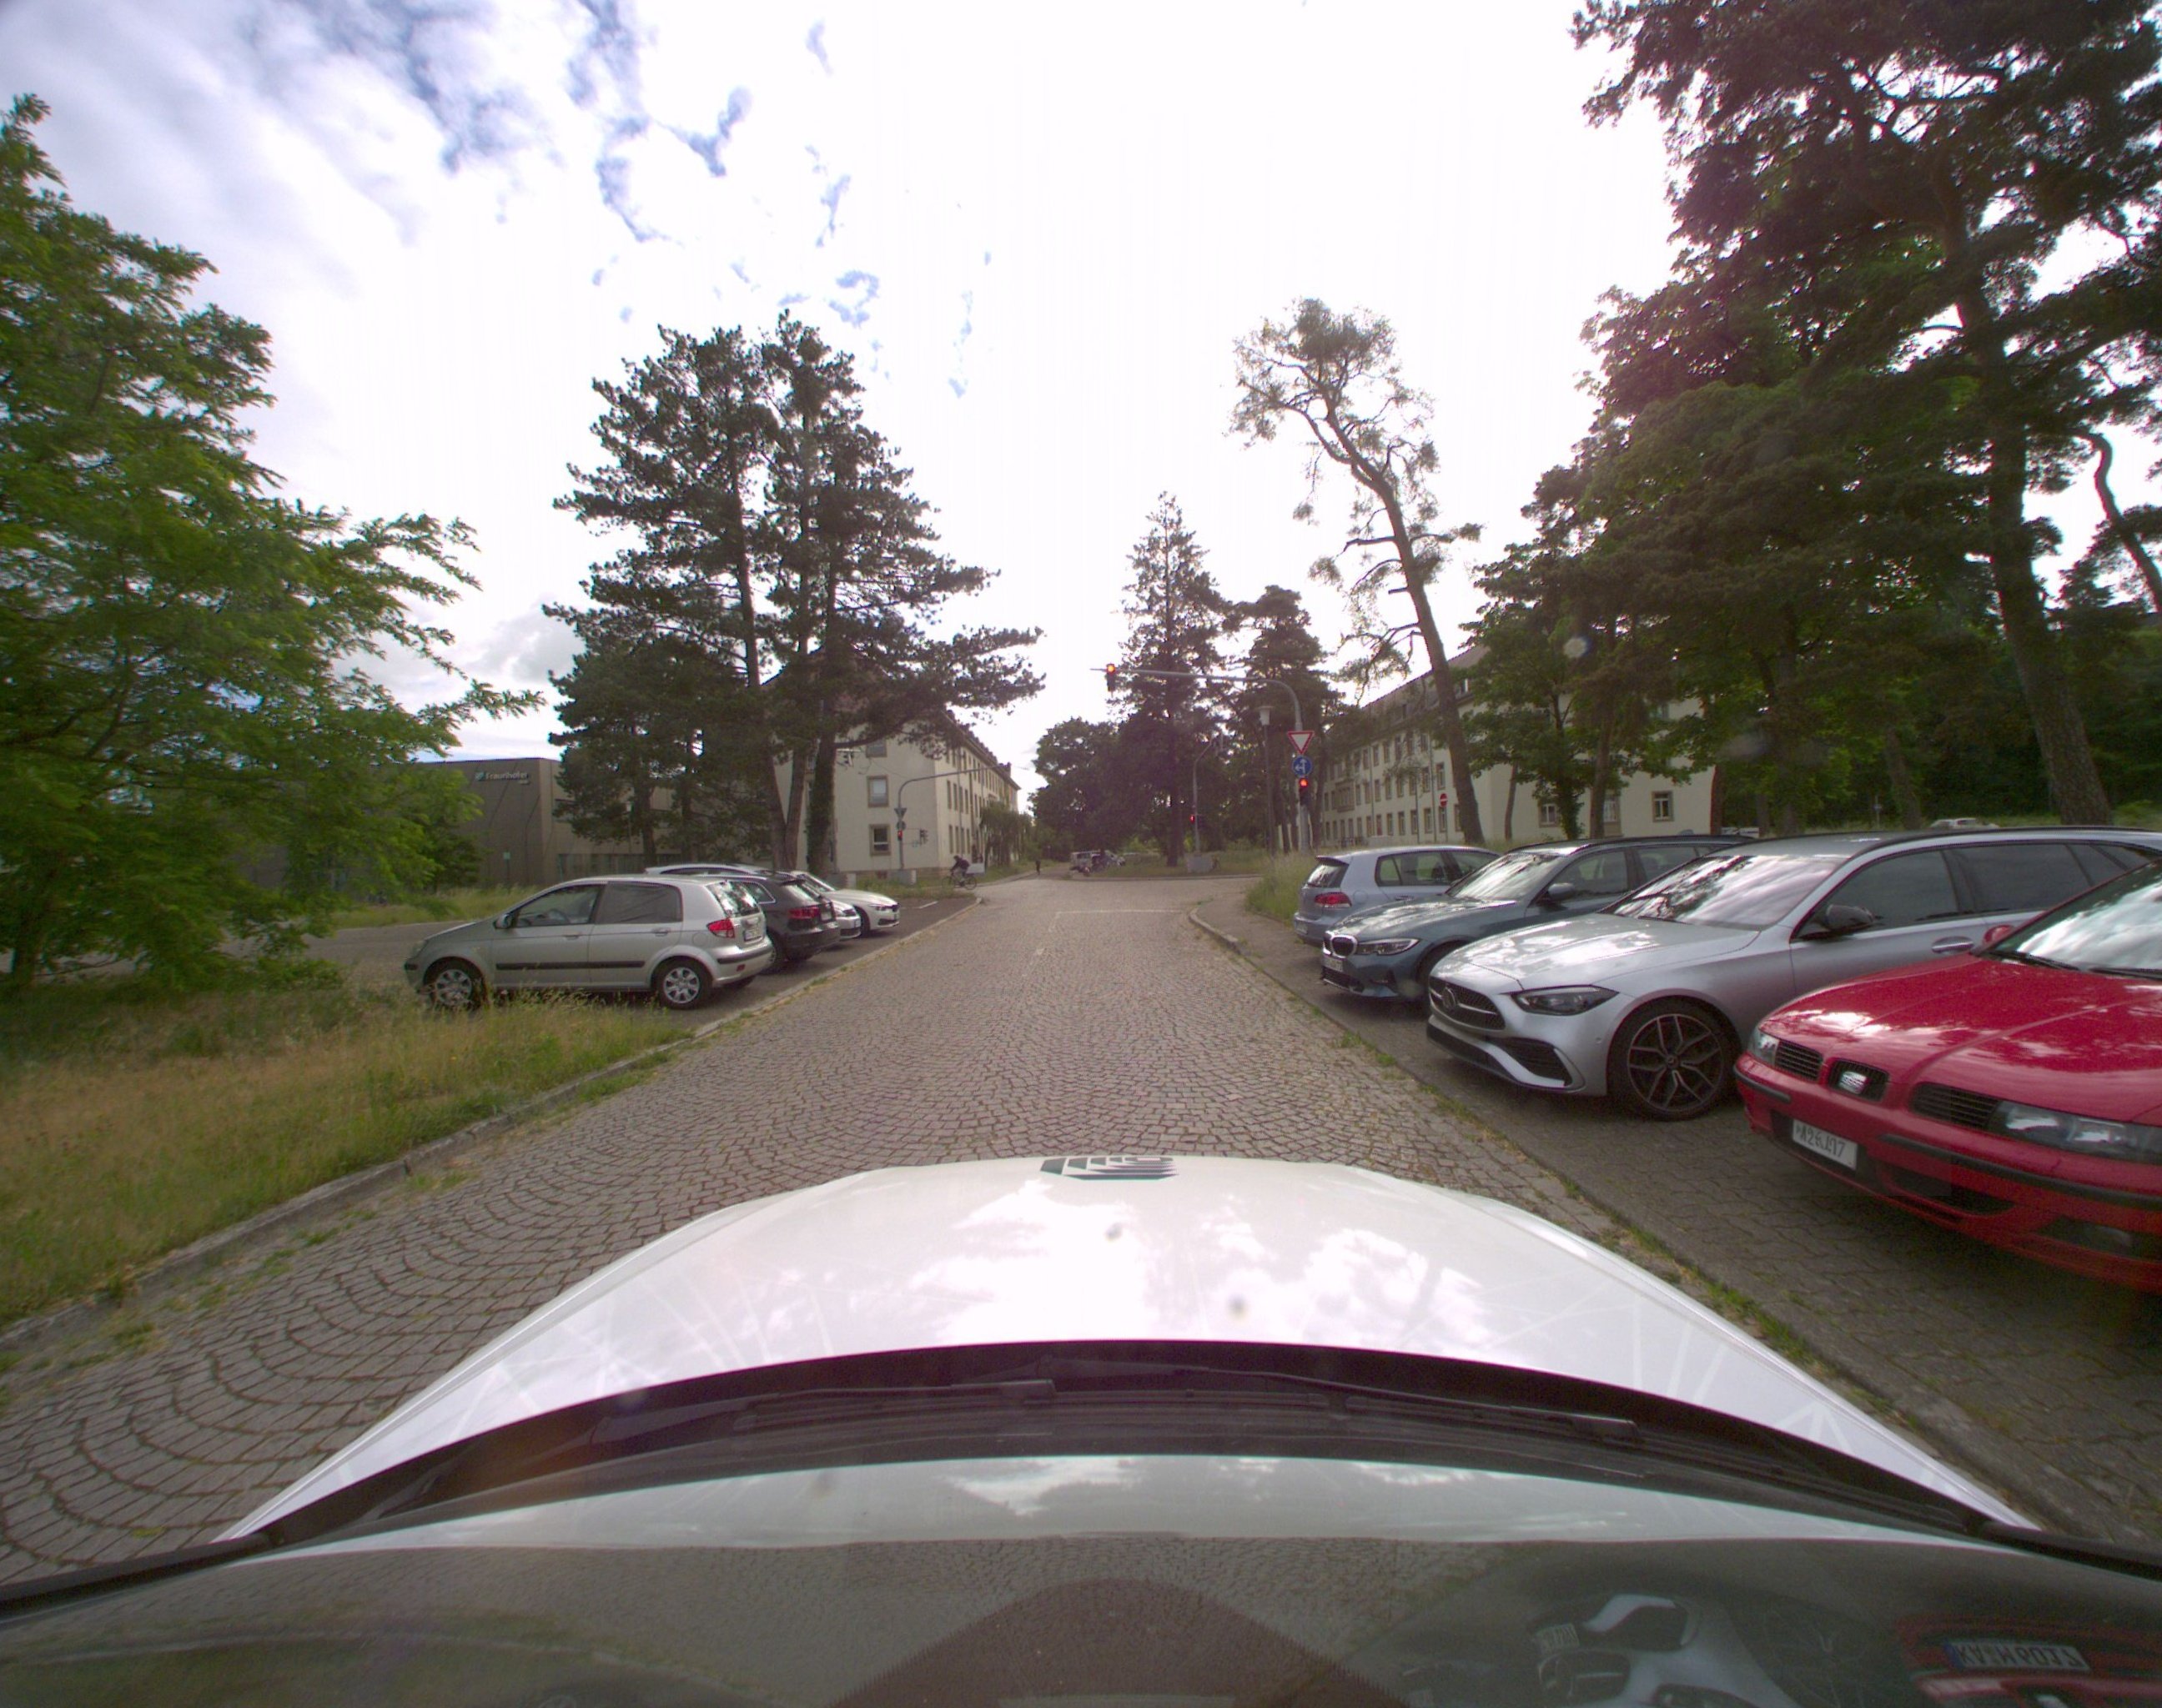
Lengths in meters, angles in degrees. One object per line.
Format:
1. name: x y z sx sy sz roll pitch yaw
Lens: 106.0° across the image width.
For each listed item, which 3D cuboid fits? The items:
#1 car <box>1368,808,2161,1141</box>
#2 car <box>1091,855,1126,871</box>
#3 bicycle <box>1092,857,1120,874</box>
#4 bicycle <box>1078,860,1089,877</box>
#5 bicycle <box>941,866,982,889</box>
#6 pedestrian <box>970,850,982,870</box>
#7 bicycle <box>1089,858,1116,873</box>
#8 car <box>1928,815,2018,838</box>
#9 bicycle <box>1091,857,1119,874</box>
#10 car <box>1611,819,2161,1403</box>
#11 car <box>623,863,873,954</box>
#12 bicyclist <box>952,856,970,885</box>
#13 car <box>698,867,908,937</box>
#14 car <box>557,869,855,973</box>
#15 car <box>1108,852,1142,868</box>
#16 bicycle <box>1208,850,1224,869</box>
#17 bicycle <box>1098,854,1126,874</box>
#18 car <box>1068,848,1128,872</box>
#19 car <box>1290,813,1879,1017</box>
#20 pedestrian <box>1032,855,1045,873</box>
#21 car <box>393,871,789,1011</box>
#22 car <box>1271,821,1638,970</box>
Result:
1. car: 4.436 0.594 5.305 4.415 1.416 1.867 -4 0 -6
2. car: 2.469 0.815 74.081 3.001 1.268 1.532 -3 0 -6
3. bicycle: 1.799 0.809 59.359 1.953 1.132 0.586 -3 0 -7
4. bicycle: 0.167 0.974 56.161 0.602 1.132 1.958 -2 0 -5
5. bicycle: -6.000 1.183 40.996 1.949 1.024 0.605 -3 0 0
6. pedestrian: -9.695 0.564 75.090 0.779 1.837 0.733 -3 0 -31
7. bicycle: 1.654 0.866 61.476 1.967 1.069 0.582 -3 0 -30
8. car: 57.965 -1.788 52.981 3.931 1.421 1.651 0 0 3
9. bicycle: 1.743 0.836 59.992 1.953 1.117 0.586 -3 0 -7
10. car: 4.785 0.585 3.113 4.248 1.416 1.871 -4 0 0
11. car: -6.025 0.959 15.085 3.938 1.563 1.648 0 0 -3
12. bicyclist: -6.017 0.805 41.006 0.747 1.410 0.605 -3 0 0
13. car: -5.907 0.994 17.622 3.935 1.421 1.650 0 0 -1
14. car: -5.494 0.953 12.301 3.737 1.428 1.581 0 0 -3
15. car: 4.378 0.584 81.328 3.224 1.416 1.724 -3 0 -3
16. bicycle: 7.830 0.309 47.256 0.584 1.106 1.961 -3 0 0
17. bicycle: 2.288 0.733 60.824 1.953 1.384 0.586 -3 0 -7
18. car: 1.606 0.541 77.445 5.359 1.925 2.019 -4 0 -9
19. car: 4.681 0.522 8.068 4.669 1.416 1.869 -4 0 -2
20. pedestrian: -3.769 0.897 72.515 0.766 1.618 0.745 -3 0 39
21. car: -5.620 0.964 9.703 3.694 1.479 1.581 0 0 -3
22. car: 4.630 0.493 10.519 3.912 1.477 1.643 -4 0 2
